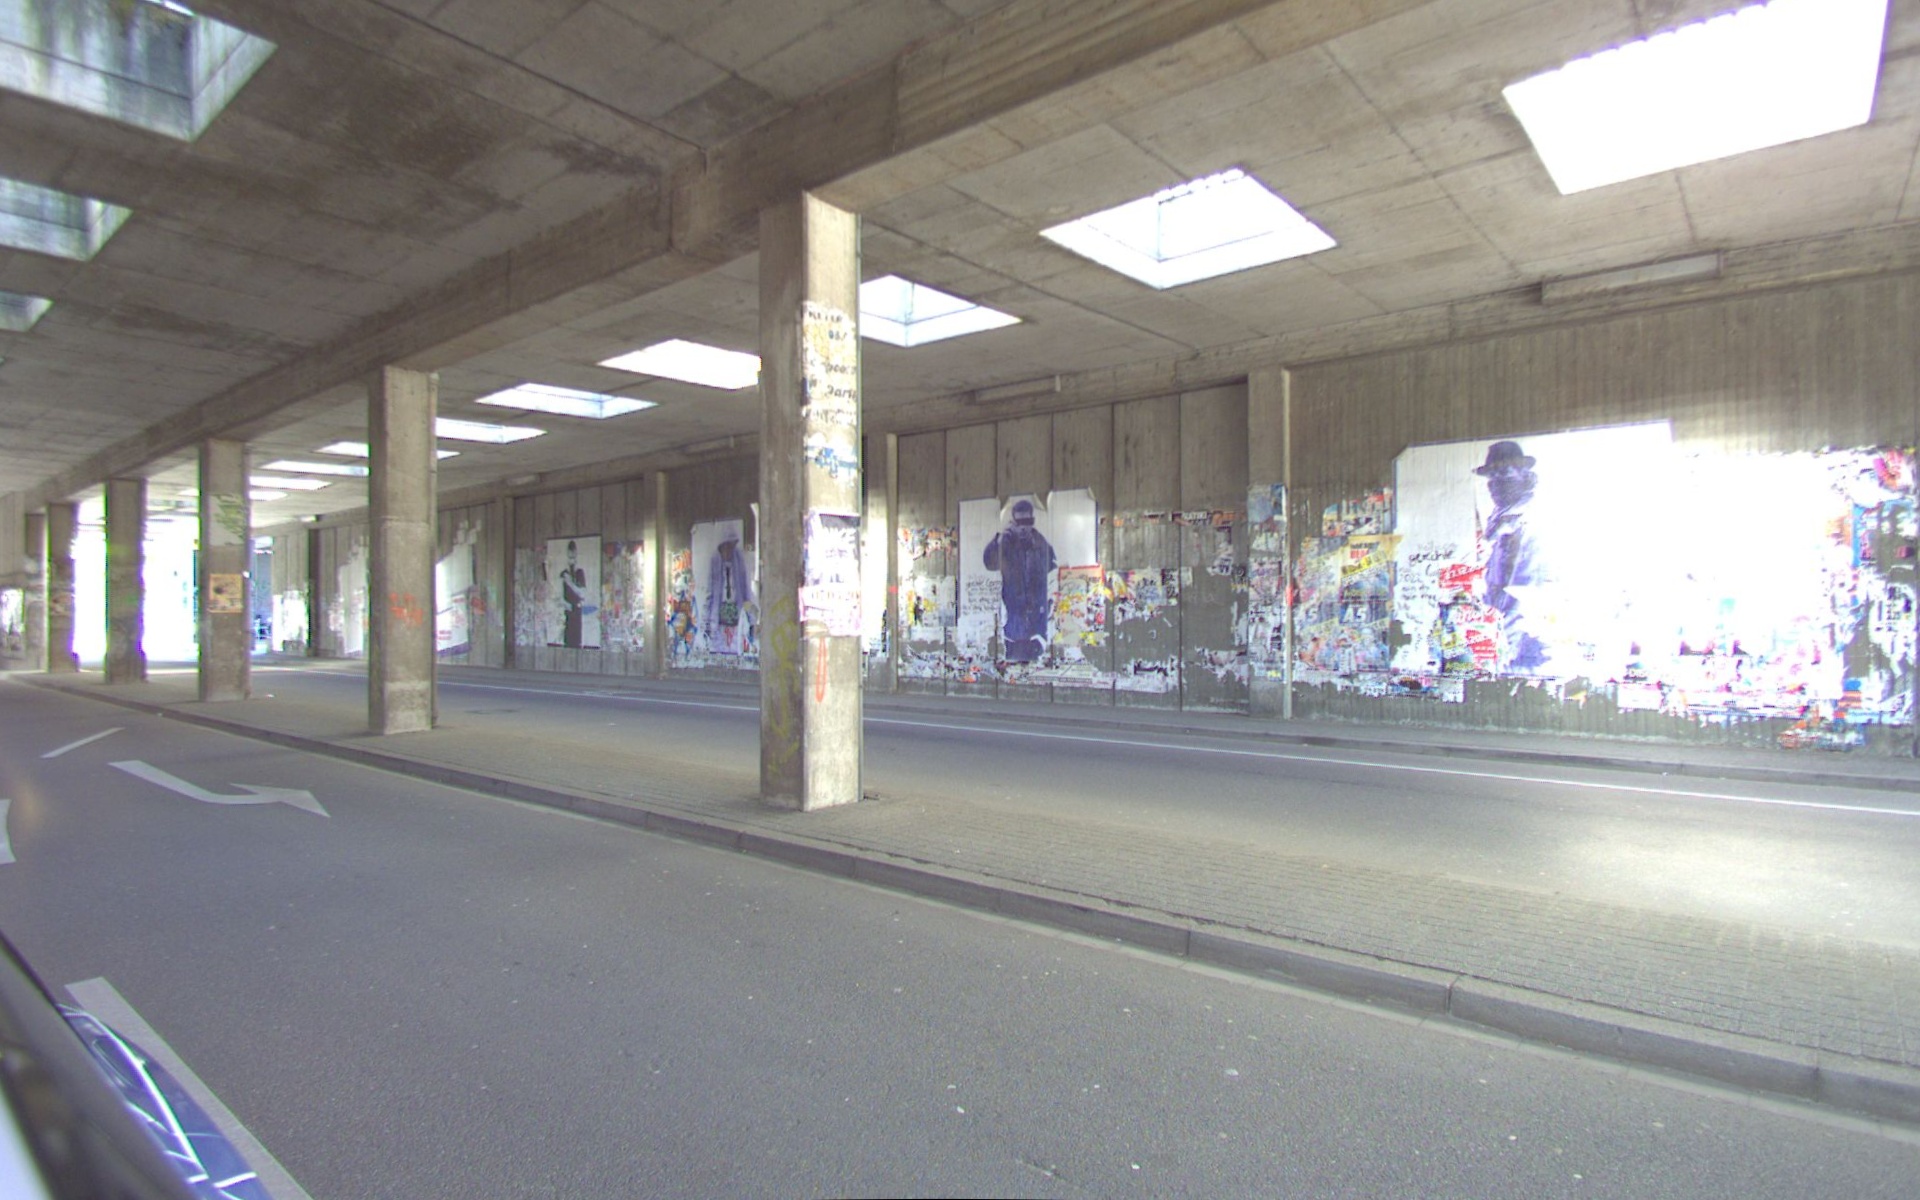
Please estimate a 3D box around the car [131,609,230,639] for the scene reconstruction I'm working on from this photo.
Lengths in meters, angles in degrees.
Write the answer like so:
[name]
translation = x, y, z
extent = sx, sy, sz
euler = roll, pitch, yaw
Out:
[car]
translation = -50.528, 1.536, 65.683
extent = 1.997, 1.763, 4.798
euler = -1, 0, 38
